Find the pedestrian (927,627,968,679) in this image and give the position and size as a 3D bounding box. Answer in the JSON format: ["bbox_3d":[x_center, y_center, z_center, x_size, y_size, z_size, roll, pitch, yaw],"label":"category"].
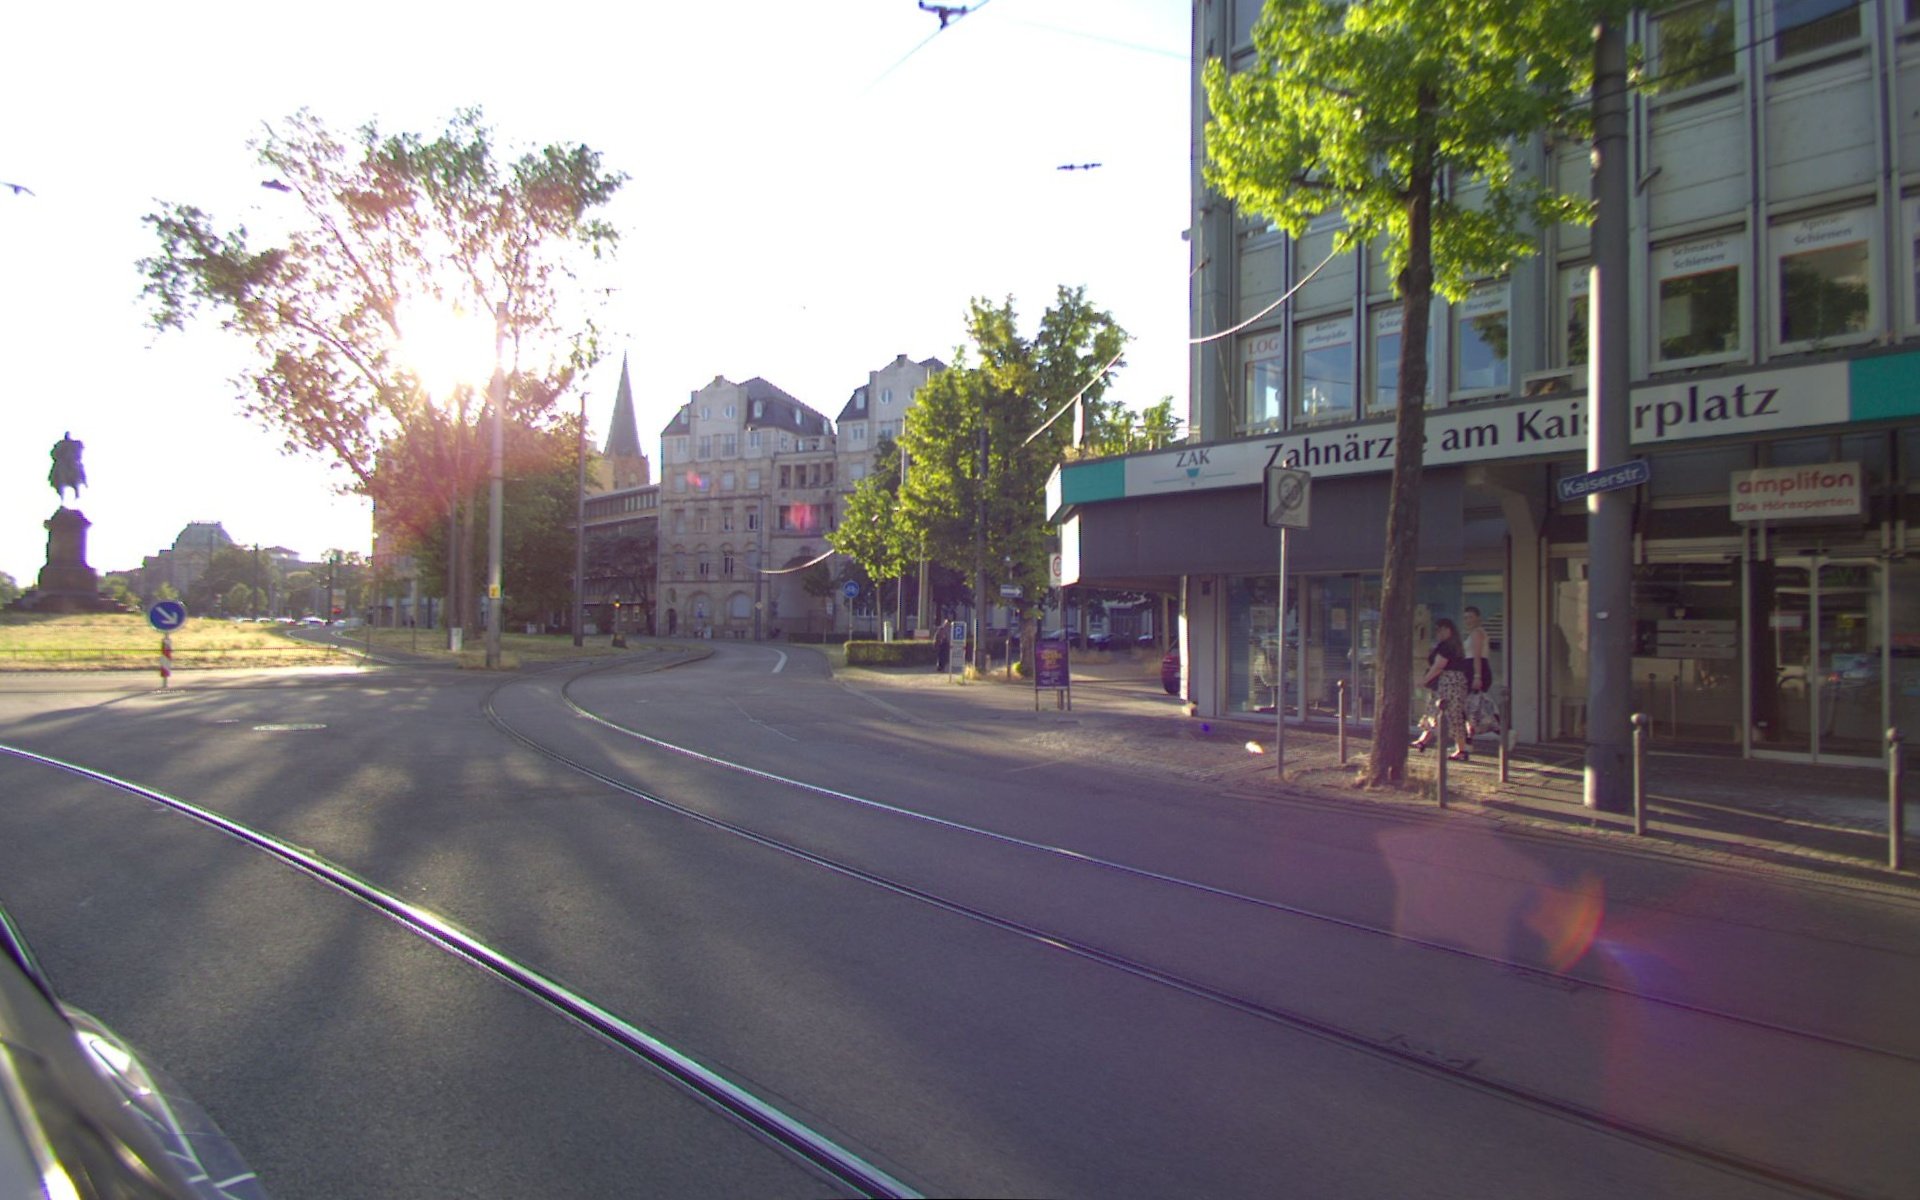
[{"bbox_3d":[-0.422,1.754,33.691,0.892,1.715,1.166,3,-3,-27],"label":"pedestrian"}]

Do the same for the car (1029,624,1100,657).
[{"bbox_3d":[6.605,2.541,63.909,3.980,2.029,1.982,0,-2,27],"label":"car"}]

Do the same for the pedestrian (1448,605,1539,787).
[{"bbox_3d":[6.265,1.089,11.882,0.787,2.029,0.735,3,-2,-43],"label":"pedestrian"}]

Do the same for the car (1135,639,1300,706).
[{"bbox_3d":[6.480,1.763,25.366,3.935,1.496,2.031,2,-2,-38],"label":"car"}]

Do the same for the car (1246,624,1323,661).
[{"bbox_3d":[18.668,2.405,58.183,3.980,2.029,1.982,0,-2,27],"label":"car"}]

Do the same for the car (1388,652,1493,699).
[{"bbox_3d":[17.182,2.654,36.105,3.938,1.541,2.003,3,-3,-41],"label":"car"}]

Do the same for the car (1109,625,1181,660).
[{"bbox_3d":[11.294,2.576,61.814,3.980,2.029,1.982,0,-2,27],"label":"car"}]

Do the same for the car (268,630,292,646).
[{"bbox_3d":[-89.440,5.023,133.088,1.969,2.029,4.005,4,-3,-42],"label":"car"}]

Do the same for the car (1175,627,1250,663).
[{"bbox_3d":[14.981,2.650,60.007,3.980,2.029,1.982,0,-2,27],"label":"car"}]

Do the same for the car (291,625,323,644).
[{"bbox_3d":[-73.108,3.850,113.348,4.549,2.029,1.971,-1,-2,44],"label":"car"}]

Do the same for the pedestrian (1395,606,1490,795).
[{"bbox_3d":[5.470,1.099,11.475,0.787,2.029,0.735,3,-2,-43],"label":"pedestrian"}]

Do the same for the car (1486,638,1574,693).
[{"bbox_3d":[22.636,2.567,40.150,3.940,2.029,2.002,3,-3,-43],"label":"car"}]

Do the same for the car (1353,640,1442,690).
[{"bbox_3d":[19.142,2.814,44.233,3.936,2.029,2.004,3,-2,-39],"label":"car"}]
